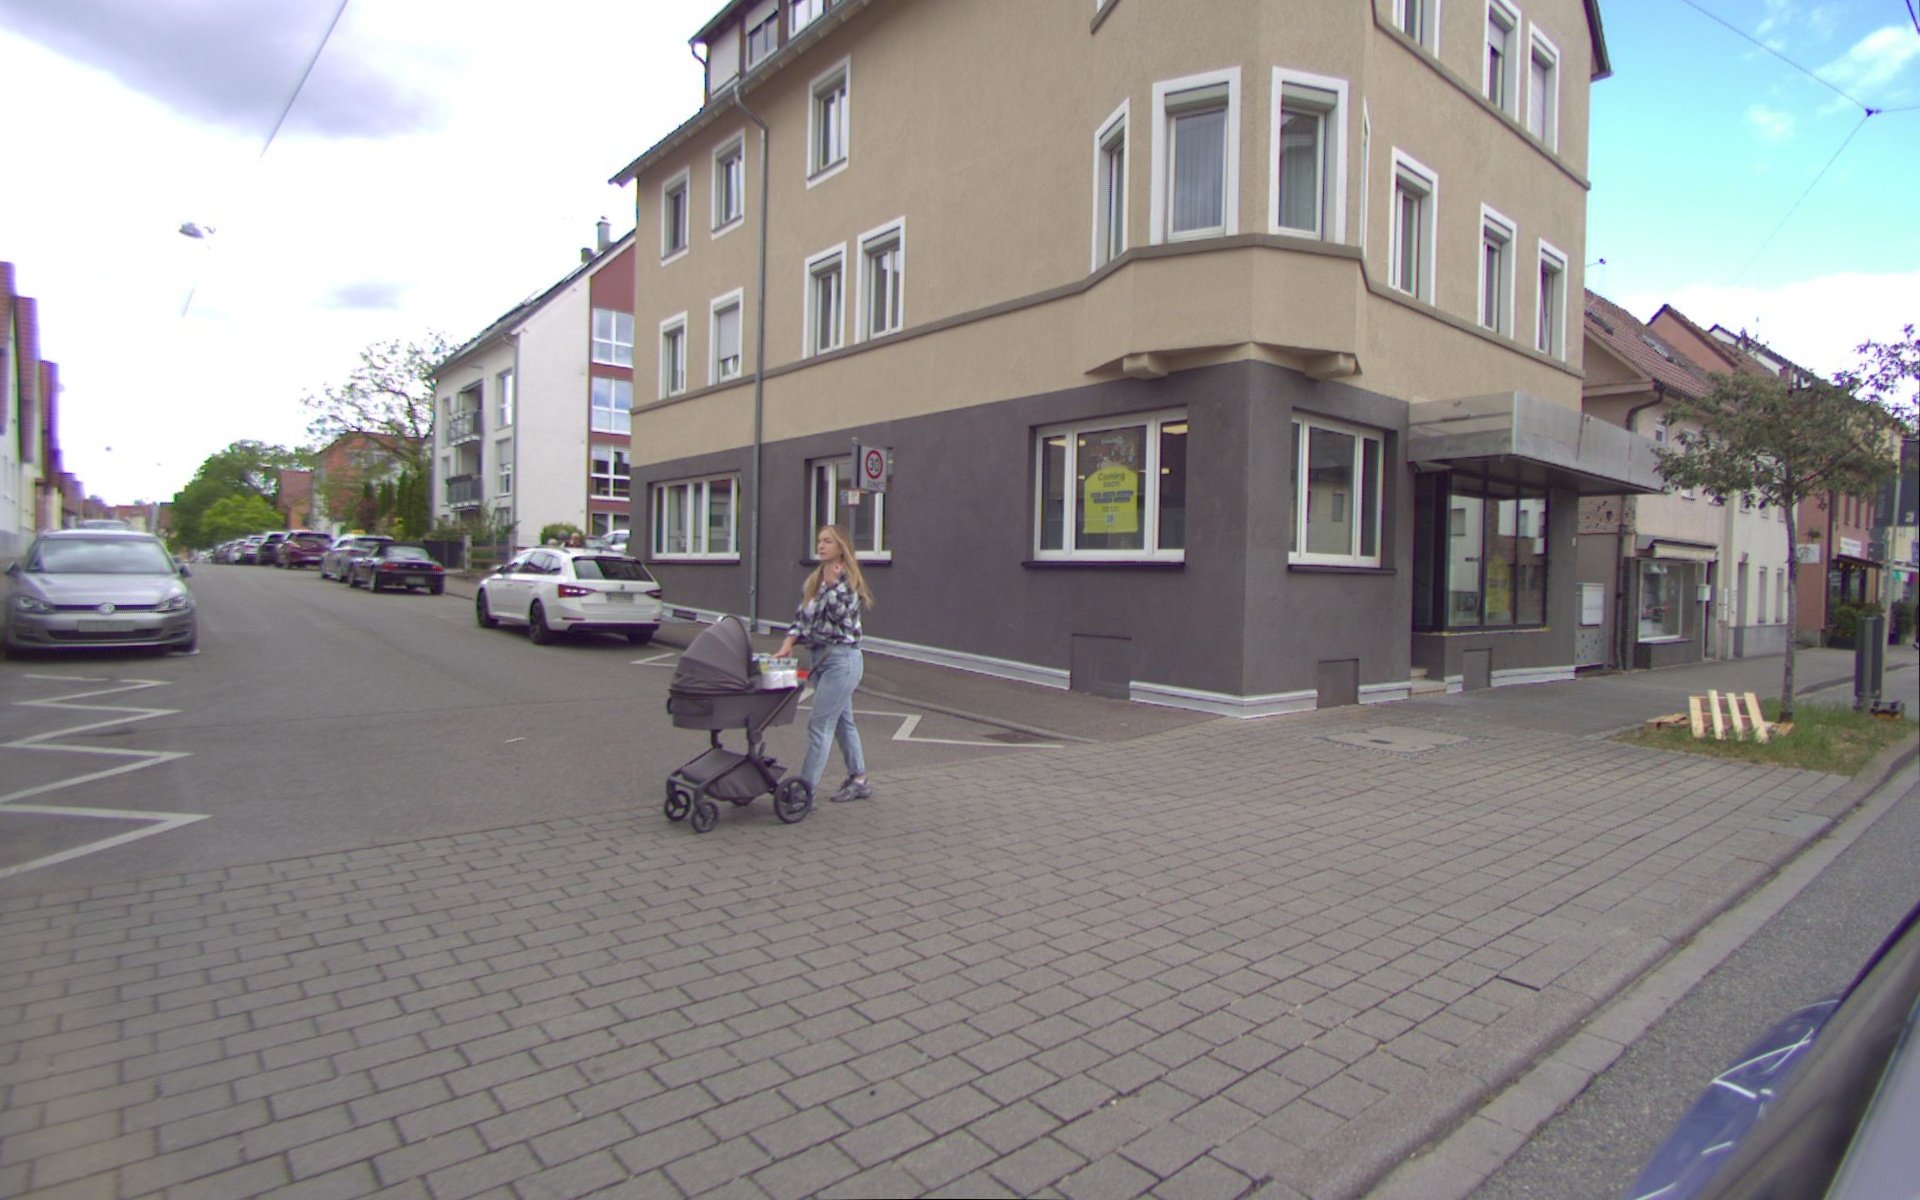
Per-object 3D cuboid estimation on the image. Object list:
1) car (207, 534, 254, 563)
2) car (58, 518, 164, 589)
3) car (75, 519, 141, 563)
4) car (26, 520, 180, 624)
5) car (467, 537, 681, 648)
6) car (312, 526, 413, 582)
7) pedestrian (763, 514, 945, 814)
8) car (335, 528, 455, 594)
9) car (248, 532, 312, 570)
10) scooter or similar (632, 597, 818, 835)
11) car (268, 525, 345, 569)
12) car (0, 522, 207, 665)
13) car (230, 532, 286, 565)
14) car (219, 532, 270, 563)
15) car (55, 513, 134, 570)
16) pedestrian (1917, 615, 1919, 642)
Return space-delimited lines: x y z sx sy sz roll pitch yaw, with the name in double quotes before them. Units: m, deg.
"car" -43.703 -3.085 60.592 1.875 1.490 4.434 1 3 -41
"car" -20.023 -1.144 23.902 1.771 1.482 4.361 -1 4 -40
"car" -31.512 -2.193 37.471 1.771 1.482 4.361 -1 4 -40
"car" -14.305 -0.555 16.965 1.771 1.482 4.361 -1 4 -40
"car" -6.487 -0.193 16.714 1.875 1.490 4.434 1 3 -41
"car" -18.251 -1.424 30.823 1.875 1.490 4.434 1 3 -41
"pedestrian" -0.675 0.364 6.450 0.884 1.741 0.752 0 0 -40
"car" -15.020 -1.071 26.789 1.875 1.490 4.434 1 3 -41
"car" -30.958 -2.257 46.001 1.875 1.490 4.434 1 3 -41
"scooter or similar" -1.352 0.610 5.852 0.876 1.248 0.590 0 0 -41
"car" -25.235 -2.061 39.016 1.875 1.490 4.434 1 3 -41
"car" -10.815 -0.196 12.853 1.771 1.482 4.058 -1 4 -40
"car" -35.656 -2.638 51.380 1.875 1.490 4.434 1 3 -41
"car" -39.829 -2.933 56.269 1.875 1.490 4.434 1 3 -41
"car" -26.991 -1.859 31.611 1.771 1.610 4.361 -1 4 -40
"pedestrian" 30.097 0.269 31.081 0.994 2.099 0.825 0 5 -44
